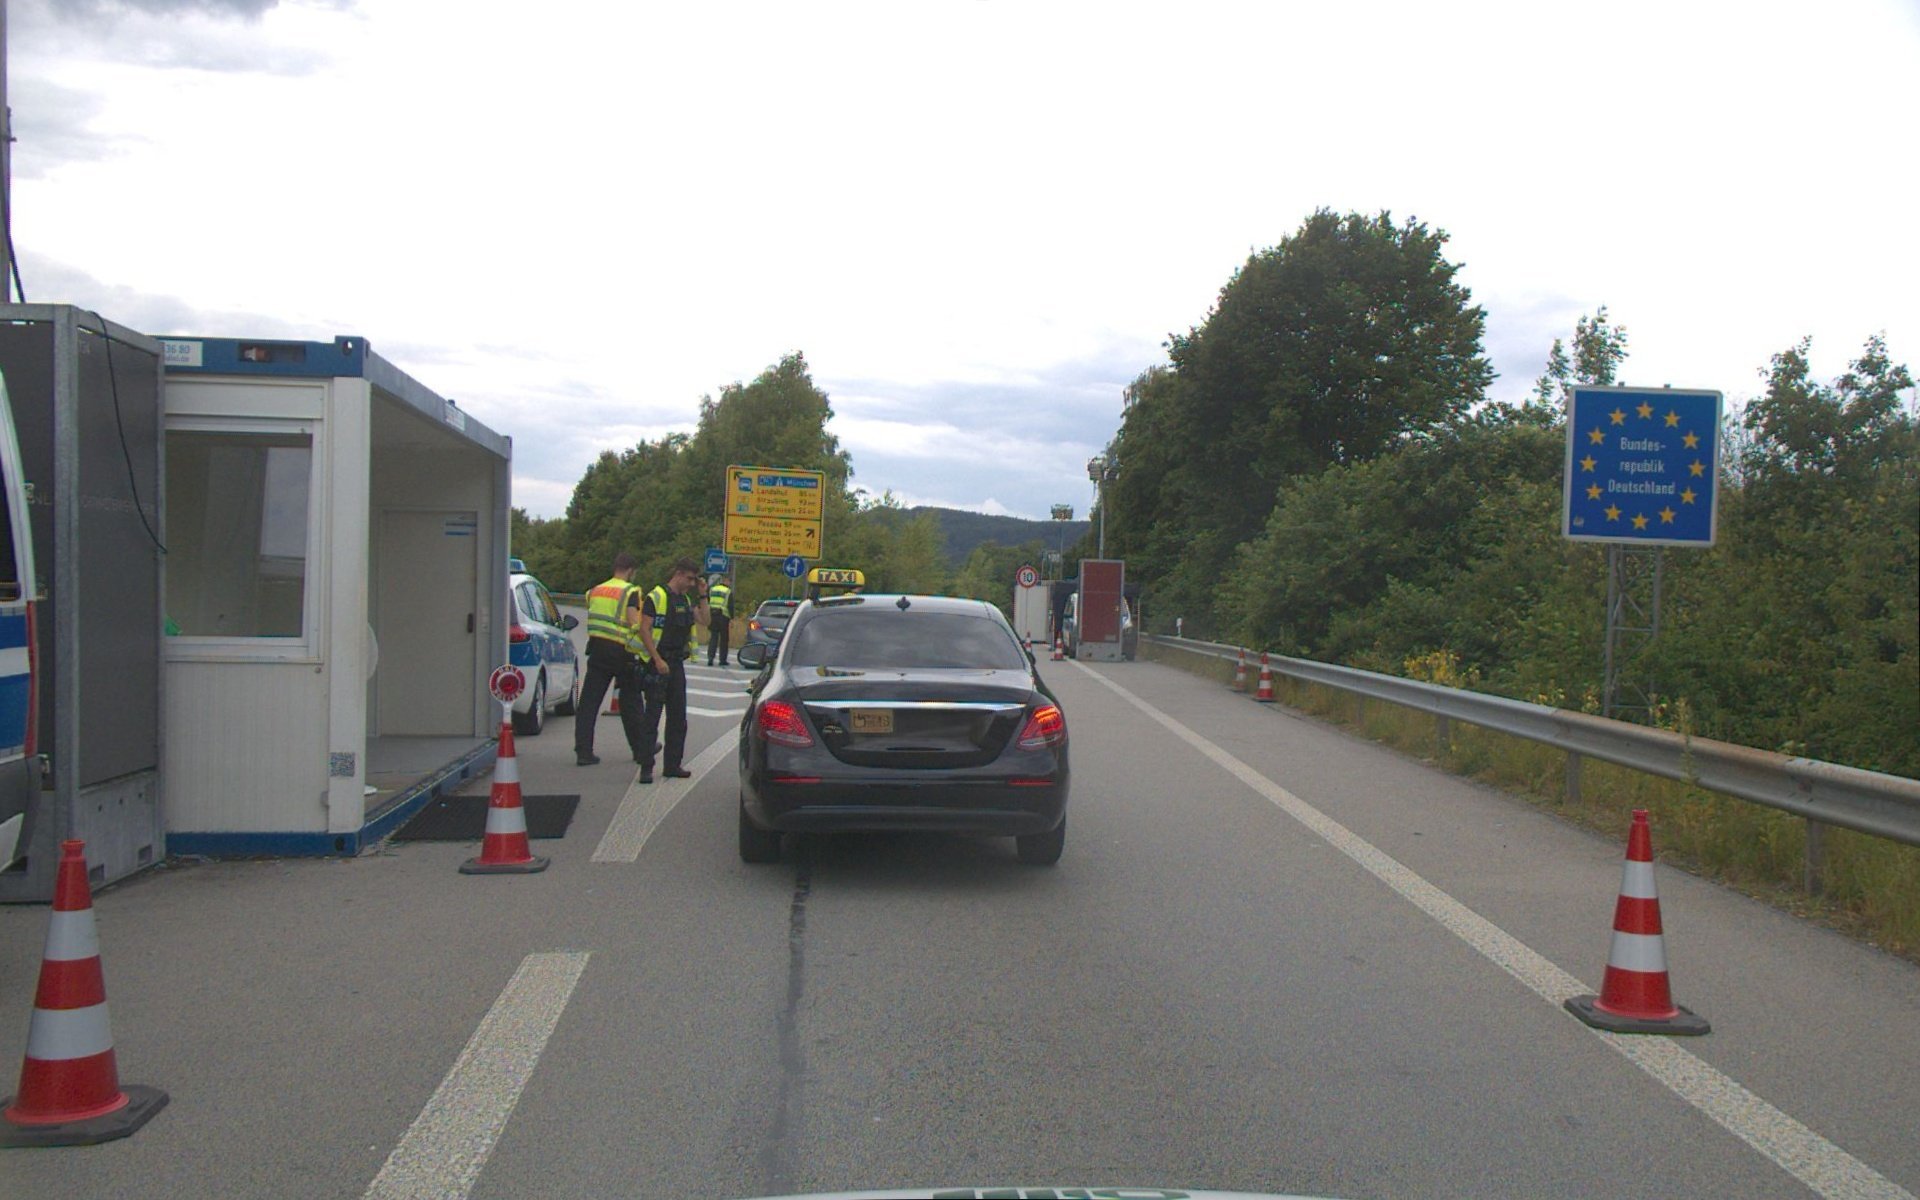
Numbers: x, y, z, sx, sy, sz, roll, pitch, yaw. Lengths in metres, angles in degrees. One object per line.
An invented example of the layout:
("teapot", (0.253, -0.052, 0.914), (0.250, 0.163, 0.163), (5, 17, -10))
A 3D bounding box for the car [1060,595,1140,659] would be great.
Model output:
("car", (4.085, 0.743, 49.032), (1.877, 1.707, 5.083), (3, 0, 0))

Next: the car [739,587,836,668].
("car", (-3.458, 0.525, 33.810), (1.819, 1.524, 4.253), (1, 0, -4))

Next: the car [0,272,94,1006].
("car", (-4.101, 0.135, 3.594), (1.989, 2.506, 5.274), (1, 0, -5))

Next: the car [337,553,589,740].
("car", (-5.236, 0.445, 17.967), (1.833, 1.774, 4.003), (1, 0, -5))

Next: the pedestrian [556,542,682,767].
("pedestrian", (-2.911, 0.450, 14.167), (0.795, 1.862, 0.810), (1, 0, 10))

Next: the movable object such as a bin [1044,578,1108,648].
("movable object such as a bin", (4.012, 0.419, 57.875), (1.952, 2.320, 4.168), (1, 0, 1))

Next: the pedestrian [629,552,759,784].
("pedestrian", (-2.089, 0.511, 12.975), (0.752, 1.748, 0.809), (1, 0, -31))

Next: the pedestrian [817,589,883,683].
("pedestrian", (-2.074, 0.671, 31.254), (0.900, 1.727, 0.903), (1, -1, -33))

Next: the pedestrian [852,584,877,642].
("pedestrian", (-3.312, 0.454, 57.175), (0.650, 1.995, 0.760), (0, 0, 14))

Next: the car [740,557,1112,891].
("car", (-0.383, 0.608, 10.329), (1.819, 1.623, 4.370), (1, 0, -6))

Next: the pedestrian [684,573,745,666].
("pedestrian", (-4.886, 0.379, 33.008), (0.889, 1.800, 0.914), (1, 0, 15))
